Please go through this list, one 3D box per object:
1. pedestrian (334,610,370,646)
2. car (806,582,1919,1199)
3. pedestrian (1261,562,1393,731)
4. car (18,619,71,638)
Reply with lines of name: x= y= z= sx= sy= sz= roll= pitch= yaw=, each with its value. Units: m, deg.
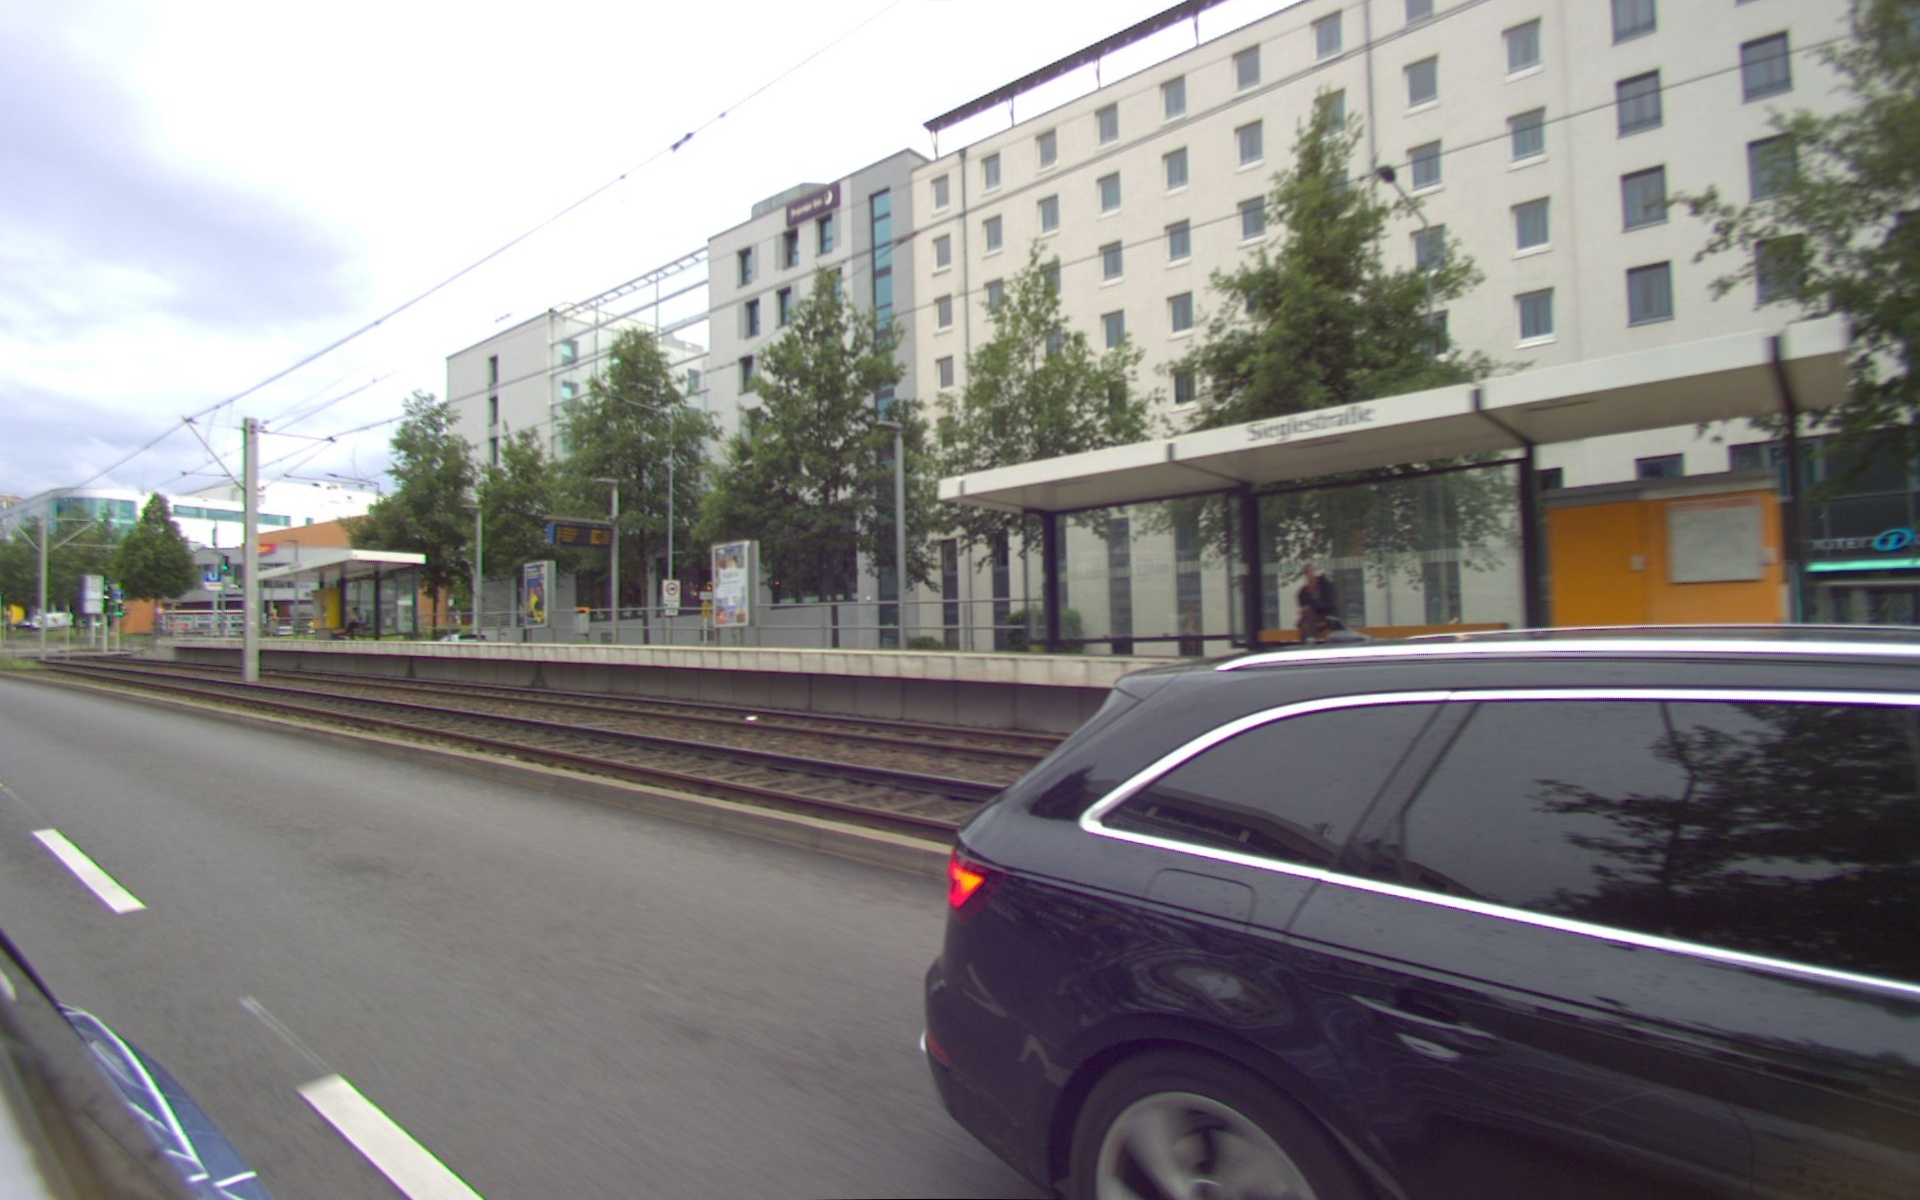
pedestrian: x=-22.476 y=1.034 z=37.413 sx=0.684 sy=1.310 sz=0.952 roll=-2 pitch=-2 yaw=39
car: x=1.998 y=0.697 z=1.508 sx=4.827 sy=1.445 sz=1.771 roll=-2 pitch=-1 yaw=42
pedestrian: x=4.716 y=0.555 z=12.992 sx=1.270 sy=2.029 sz=1.115 roll=-1 pitch=0 yaw=41
car: x=-134.541 y=4.215 z=148.801 sx=2.262 sy=2.648 sz=5.448 roll=-1 pitch=0 yaw=20
